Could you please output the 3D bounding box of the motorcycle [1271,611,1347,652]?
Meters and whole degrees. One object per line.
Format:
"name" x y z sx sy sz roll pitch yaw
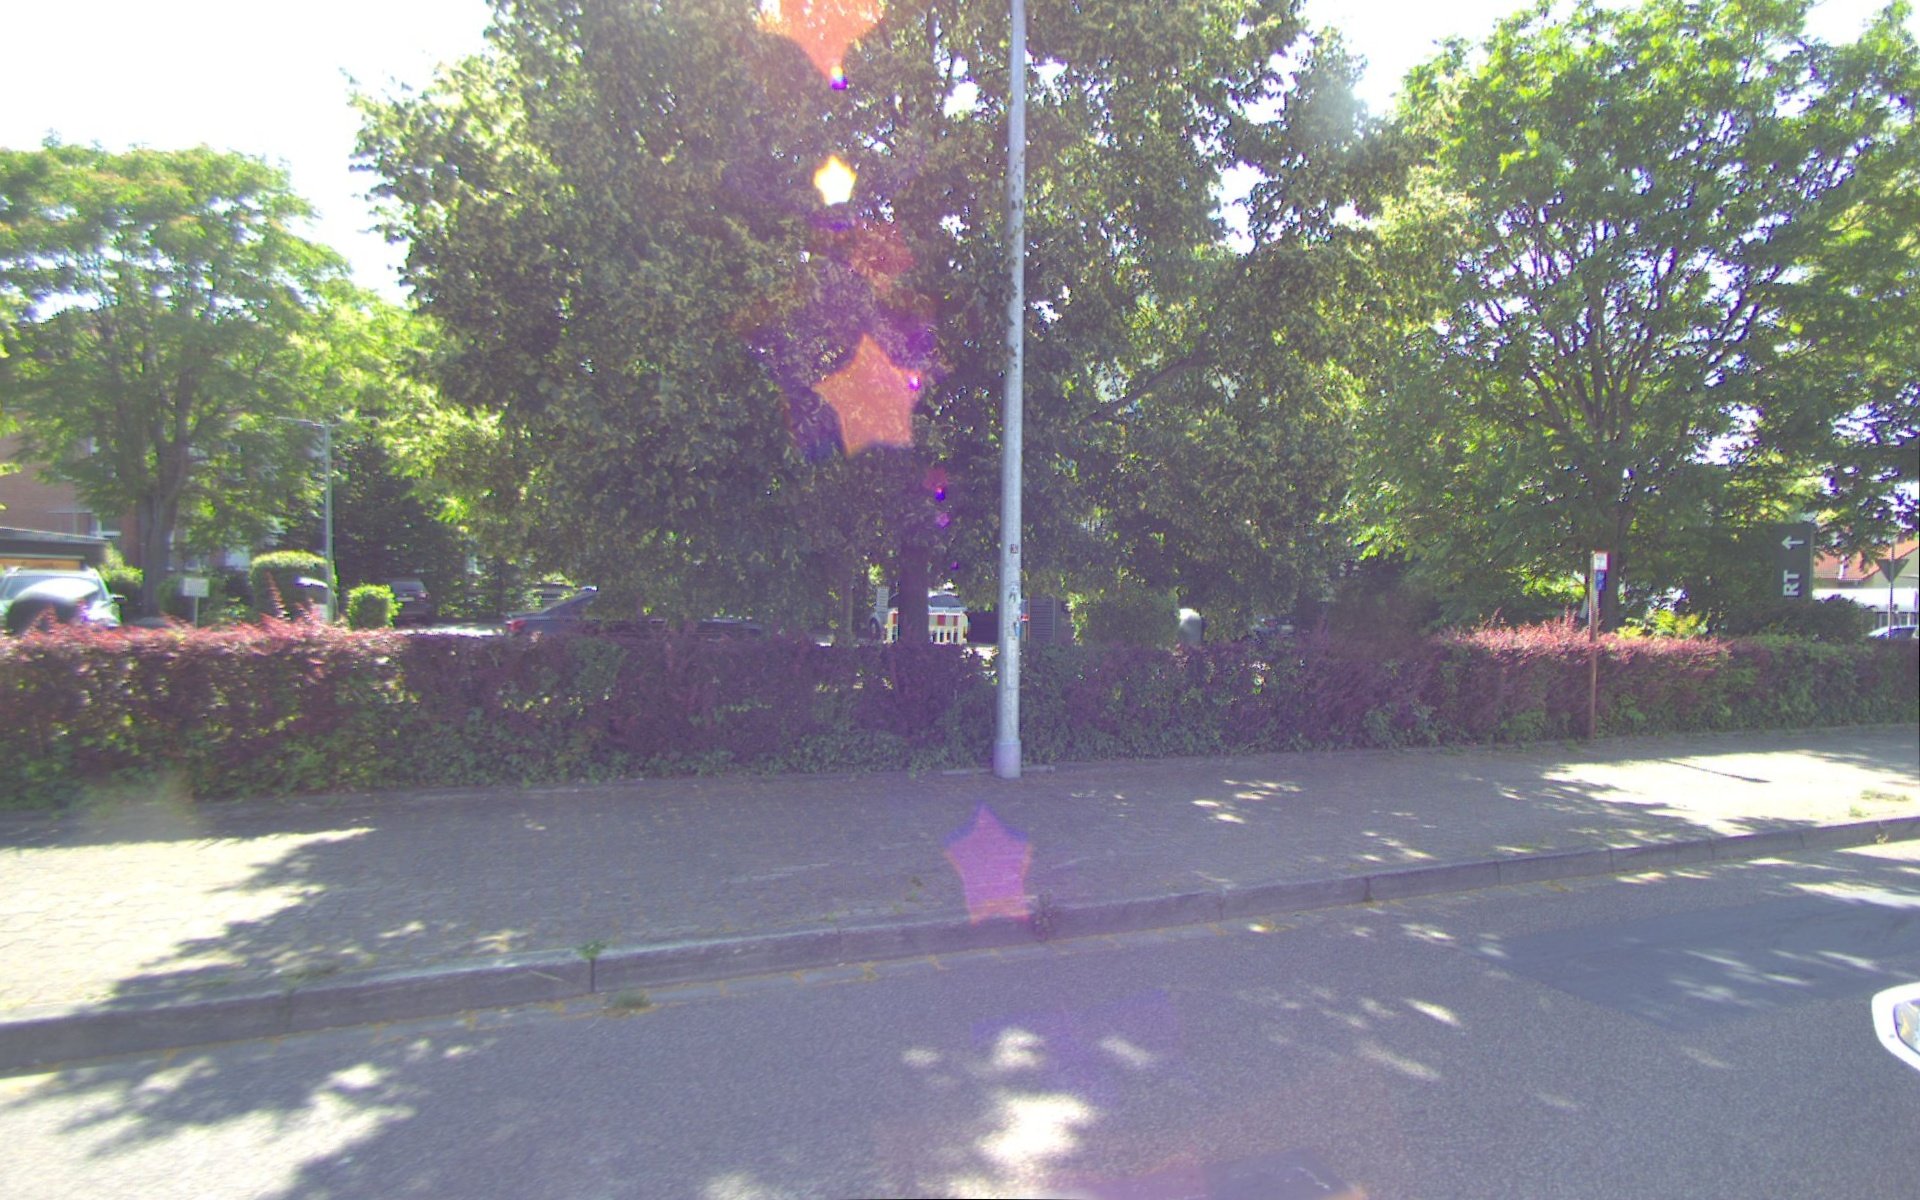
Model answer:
"motorcycle" 10.789 0.965 31.096 2.150 1.131 0.567 3 1 40

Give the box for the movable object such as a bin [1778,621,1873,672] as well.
"movable object such as a bin" 27.738 1.483 32.227 1.427 1.546 1.775 -2 -2 -4

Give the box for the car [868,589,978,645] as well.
"car" -1.235 0.498 31.795 1.627 1.609 3.810 1 1 -36

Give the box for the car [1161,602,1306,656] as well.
"car" 8.229 0.830 30.530 1.752 1.406 4.055 1 1 -34

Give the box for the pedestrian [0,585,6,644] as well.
"pedestrian" -24.472 0.364 25.331 0.489 1.480 0.546 1 3 -32

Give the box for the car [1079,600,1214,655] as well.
"car" 5.535 0.788 30.208 1.611 1.414 4.032 1 1 -34

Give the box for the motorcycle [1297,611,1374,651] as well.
"motorcycle" 11.690 0.948 31.297 2.150 1.147 0.567 3 1 40

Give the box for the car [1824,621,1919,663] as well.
"car" 43.502 1.925 46.534 4.798 1.867 2.162 0 -1 23

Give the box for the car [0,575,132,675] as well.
"car" -16.440 0.388 18.342 1.888 1.605 3.769 1 1 -38

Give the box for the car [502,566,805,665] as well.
"car" -5.470 0.303 18.156 4.956 1.581 2.064 2 0 -21

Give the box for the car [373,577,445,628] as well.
"car" -18.692 0.046 34.014 1.801 1.598 3.833 1 1 -34

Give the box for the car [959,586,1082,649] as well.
"car" 1.826 0.505 31.596 1.783 1.755 3.985 1 1 -34

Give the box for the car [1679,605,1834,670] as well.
"car" 25.704 1.263 32.651 1.854 1.945 4.529 -1 -3 9

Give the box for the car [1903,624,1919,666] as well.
"car" 40.183 1.820 41.056 1.781 1.678 4.301 -1 -2 35
